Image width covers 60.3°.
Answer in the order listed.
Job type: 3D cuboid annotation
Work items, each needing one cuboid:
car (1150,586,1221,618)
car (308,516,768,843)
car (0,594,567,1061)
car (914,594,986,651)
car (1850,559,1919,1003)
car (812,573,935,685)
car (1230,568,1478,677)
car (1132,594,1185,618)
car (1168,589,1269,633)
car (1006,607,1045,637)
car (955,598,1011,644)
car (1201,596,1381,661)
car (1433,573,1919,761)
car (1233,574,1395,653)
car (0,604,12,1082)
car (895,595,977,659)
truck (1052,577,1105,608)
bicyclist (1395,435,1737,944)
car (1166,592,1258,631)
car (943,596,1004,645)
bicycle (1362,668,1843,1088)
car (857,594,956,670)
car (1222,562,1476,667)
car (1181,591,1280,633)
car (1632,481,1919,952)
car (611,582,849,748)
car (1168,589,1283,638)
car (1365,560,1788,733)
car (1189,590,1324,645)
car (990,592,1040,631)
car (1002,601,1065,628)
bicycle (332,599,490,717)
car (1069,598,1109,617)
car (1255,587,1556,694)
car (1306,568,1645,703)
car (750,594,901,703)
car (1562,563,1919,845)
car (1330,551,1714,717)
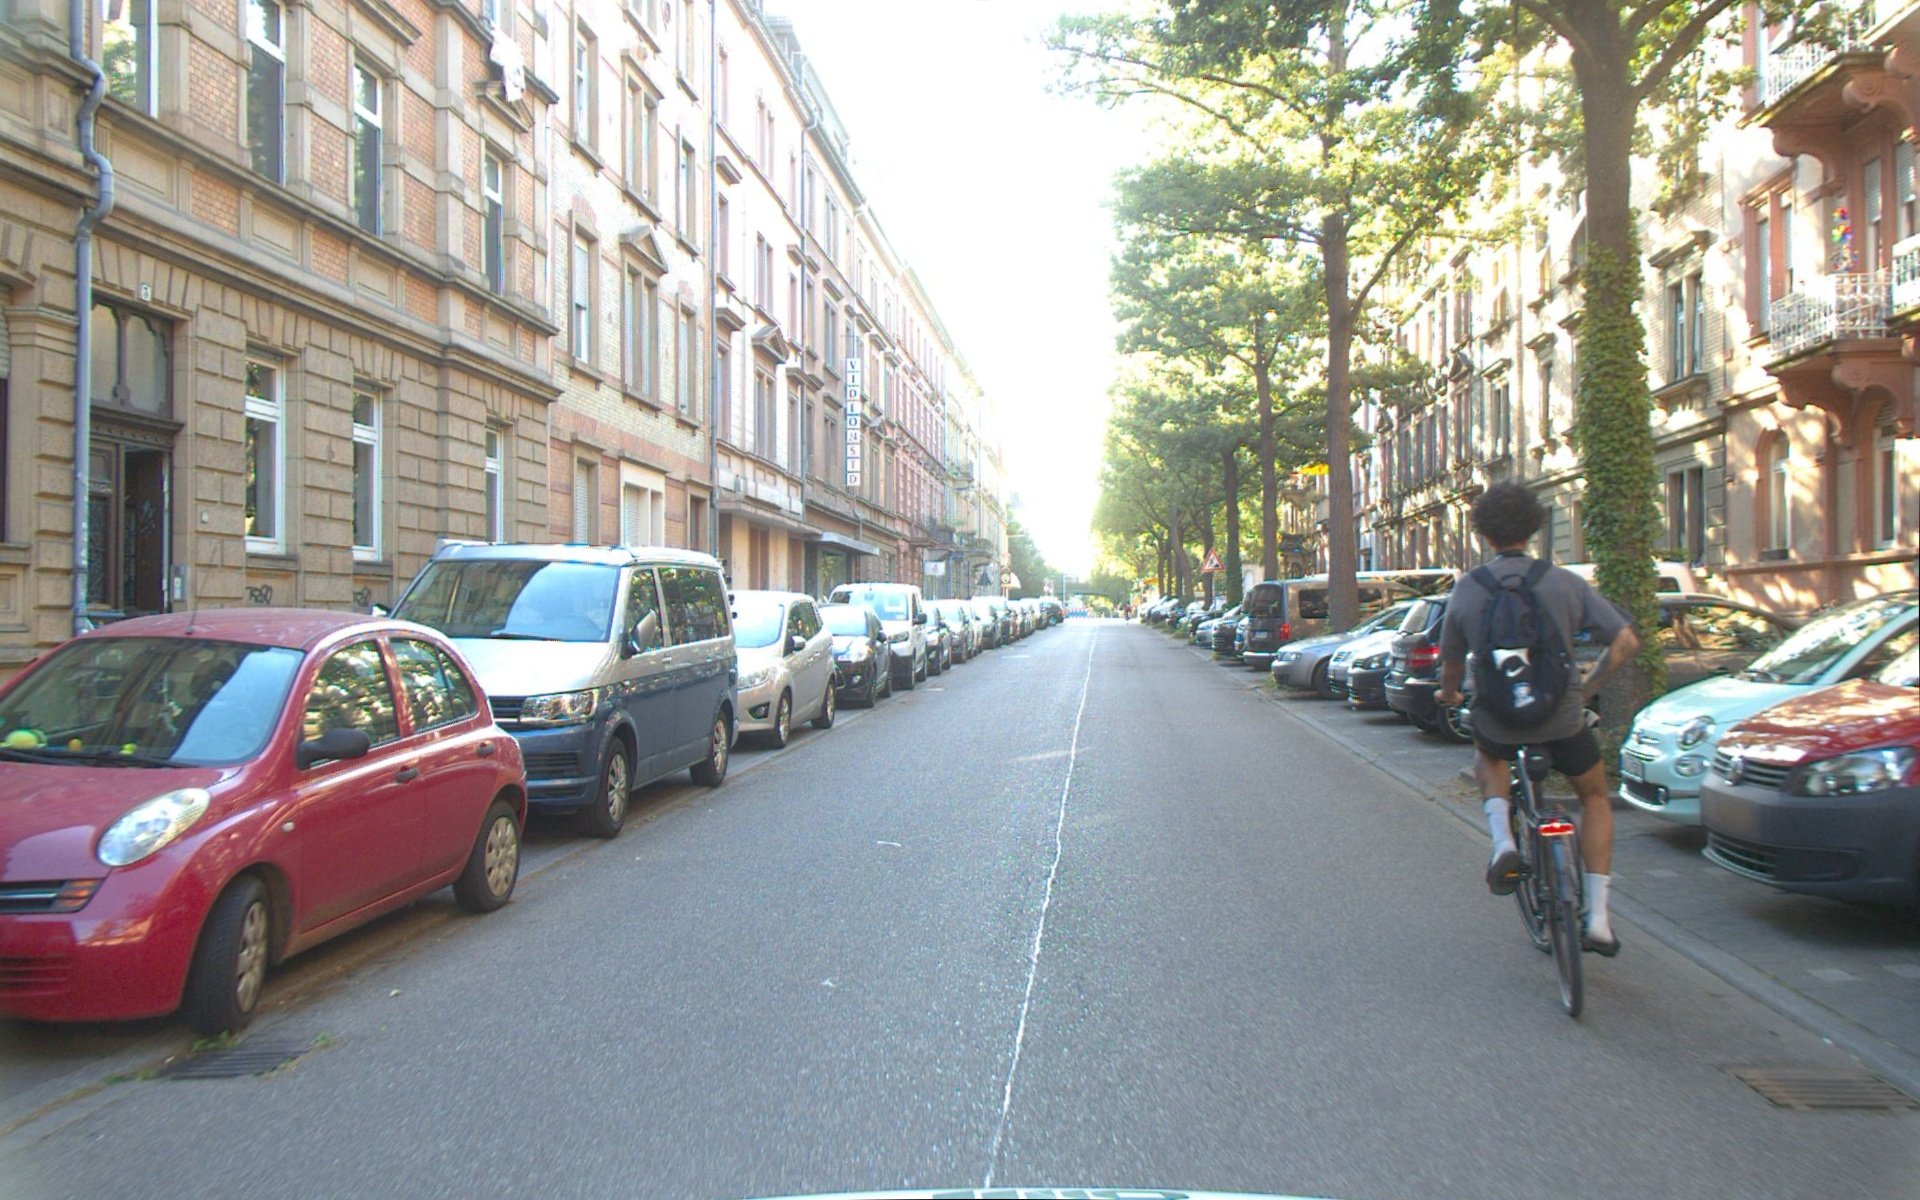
[{"bbox_3d":[12.544,0.090,92.126,3.769,1.601,1.719,-2,0,4],"label":"car"},{"bbox_3d":[-2.931,0.486,12.880,1.793,1.977,5.263,1,0,5],"label":"car"},{"bbox_3d":[-3.177,0.747,7.358,1.559,1.501,3.702,1,0,7],"label":"car"},{"bbox_3d":[-0.227,0.598,46.290,1.721,1.498,4.061,-1,0,3],"label":"car"},{"bbox_3d":[5.489,0.549,5.253,4.253,1.583,1.851,-3,1,4],"label":"car"},{"bbox_3d":[-1.505,0.493,30.309,1.721,1.874,4.532,-1,0,3],"label":"car"},{"bbox_3d":[7.422,0.400,31.287,4.151,1.826,1.828,-2,0,-15],"label":"car"},{"bbox_3d":[14.699,0.434,122.378,3.769,1.601,1.719,-2,0,4],"label":"car"},{"bbox_3d":[10.516,0.455,67.398,3.774,1.601,1.717,-2,0,-3],"label":"car"},{"bbox_3d":[3.575,1.200,89.809,1.951,1.512,4.001,-1,-2,4],"label":"car"},{"bbox_3d":[0.820,0.702,57.265,1.721,1.498,4.061,-1,0,3],"label":"car"},{"bbox_3d":[7.542,0.640,37.899,3.770,1.316,1.718,-2,0,1],"label":"car"},{"bbox_3d":[6.559,0.593,15.234,3.926,1.493,1.735,-2,-1,4],"label":"car"},{"bbox_3d":[9.075,0.336,42.603,3.770,1.828,1.718,-2,0,1],"label":"car"},{"bbox_3d":[-3.833,0.751,2.925,1.721,1.527,4.062,1,0,4],"label":"car"},{"bbox_3d":[-0.545,0.637,41.428,1.721,1.498,4.061,-1,0,3],"label":"car"},{"bbox_3d":[16.443,-1.048,229.460,7.151,4.019,2.411,2,0,-32],"label":"truck"},{"bbox_3d":[2.337,0.324,6.562,0.975,1.821,1.208,0,-1,5],"label":"bicyclist"},{"bbox_3d":[11.323,0.505,74.410,3.774,1.601,1.717,-2,0,-3],"label":"car"},{"bbox_3d":[0.462,0.628,52.704,1.721,1.498,4.061,-1,0,3],"label":"car"},{"bbox_3d":[2.322,0.909,6.541,0.975,1.178,2.924,0,0,5],"label":"bicycle"},{"bbox_3d":[-1.089,0.641,35.346,1.721,1.498,4.061,-1,0,3],"label":"car"},{"bbox_3d":[8.143,0.294,34.978,4.950,1.959,1.836,-2,0,5],"label":"car"},{"bbox_3d":[11.386,0.487,69.739,3.774,1.601,1.717,-2,0,-3],"label":"car"},{"bbox_3d":[5.758,0.370,7.806,4.351,1.958,1.851,-3,1,2],"label":"car"},{"bbox_3d":[-2.483,0.656,18.948,1.716,1.636,4.386,1,0,5],"label":"car"},{"bbox_3d":[9.621,0.486,60.107,3.774,1.601,1.717,-2,0,-3],"label":"car"},{"bbox_3d":[6.554,0.498,17.935,3.926,1.635,1.735,-2,-1,4],"label":"car"},{"bbox_3d":[8.949,0.526,50.165,3.770,1.505,1.718,-2,0,1],"label":"car"},{"bbox_3d":[2.335,0.505,69.707,1.951,1.512,4.001,-1,-2,4],"label":"car"},{"bbox_3d":[4.466,0.880,100.118,1.961,1.512,3.983,-2,-2,37],"label":"car"},{"bbox_3d":[-6.400,0.636,19.482,0.725,1.277,2.828,0,0,4],"label":"bicycle"},{"bbox_3d":[13.141,0.726,168.469,3.902,1.892,1.752,1,0,13],"label":"car"},{"bbox_3d":[6.829,0.604,25.674,4.134,1.428,1.835,-2,0,0],"label":"car"},{"bbox_3d":[7.169,0.477,23.260,4.136,1.639,1.834,-2,0,-3],"label":"car"},{"bbox_3d":[-1.968,0.678,25.329,1.722,1.493,4.002,2,0,3],"label":"car"},{"bbox_3d":[5.935,0.538,10.374,3.585,1.480,1.850,-3,1,-1],"label":"car"},{"bbox_3d":[6.862,0.413,20.570,4.132,1.807,1.836,-2,0,4],"label":"car"}]
